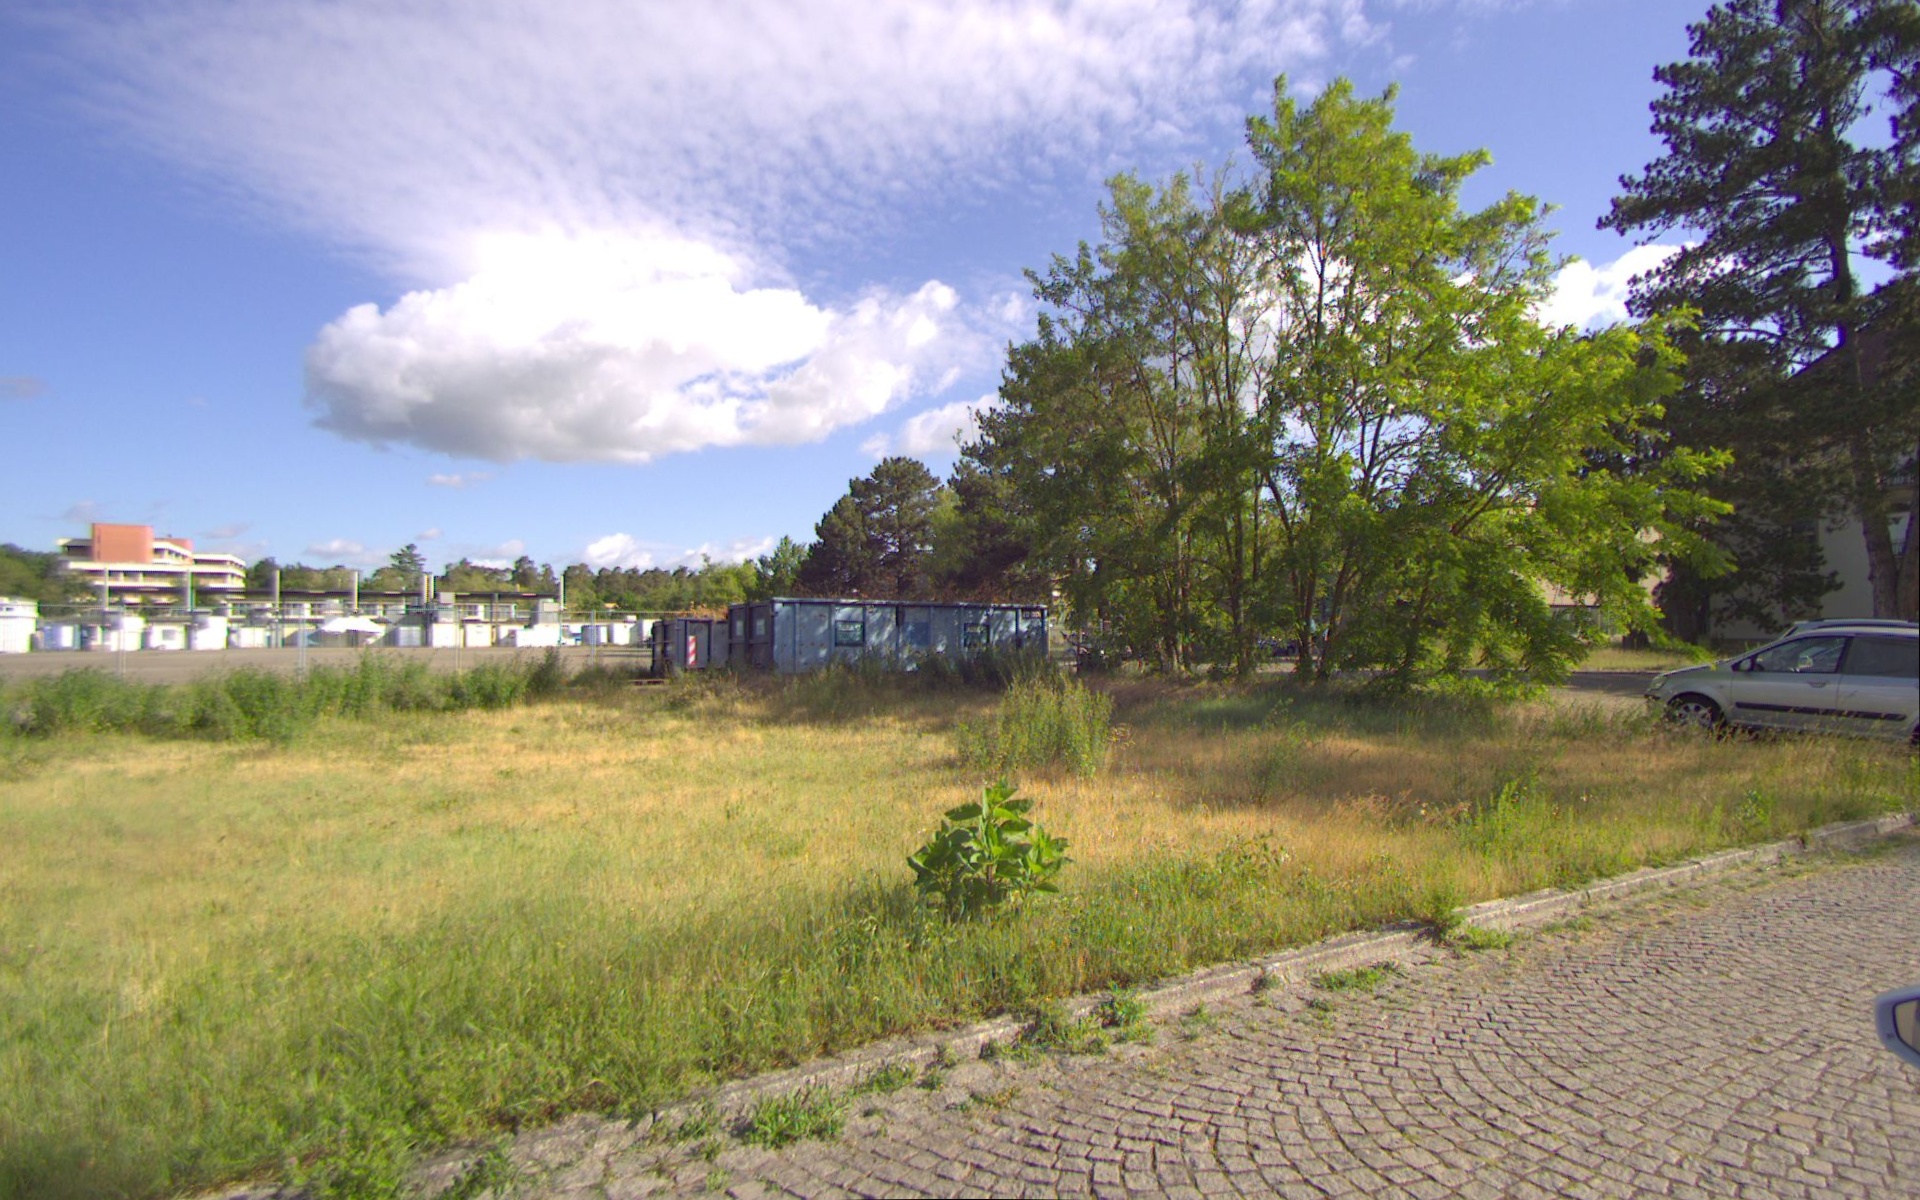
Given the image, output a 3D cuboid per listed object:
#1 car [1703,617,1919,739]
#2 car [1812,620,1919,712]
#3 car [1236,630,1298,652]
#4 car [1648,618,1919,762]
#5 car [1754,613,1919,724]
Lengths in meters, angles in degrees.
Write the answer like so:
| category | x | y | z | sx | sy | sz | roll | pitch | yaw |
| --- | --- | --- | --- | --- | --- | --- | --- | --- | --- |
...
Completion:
| category | x | y | z | sx | sy | sz | roll | pitch | yaw |
| --- | --- | --- | --- | --- | --- | --- | --- | --- | --- |
| car | 12.811 | 1.036 | 13.678 | 1.783 | 1.500 | 3.964 | 0 | 0 | -32 |
| car | 17.172 | 1.142 | 16.663 | 1.810 | 1.488 | 4.309 | 0 | 0 | -32 |
| car | 20.770 | 2.759 | 67.951 | 3.952 | 1.452 | 1.894 | 2 | -2 | -30 |
| car | 10.757 | 1.013 | 12.124 | 1.628 | 1.507 | 3.725 | 0 | 0 | -32 |
| car | 15.121 | 1.051 | 15.545 | 1.865 | 1.614 | 4.057 | 0 | 0 | -32 |
